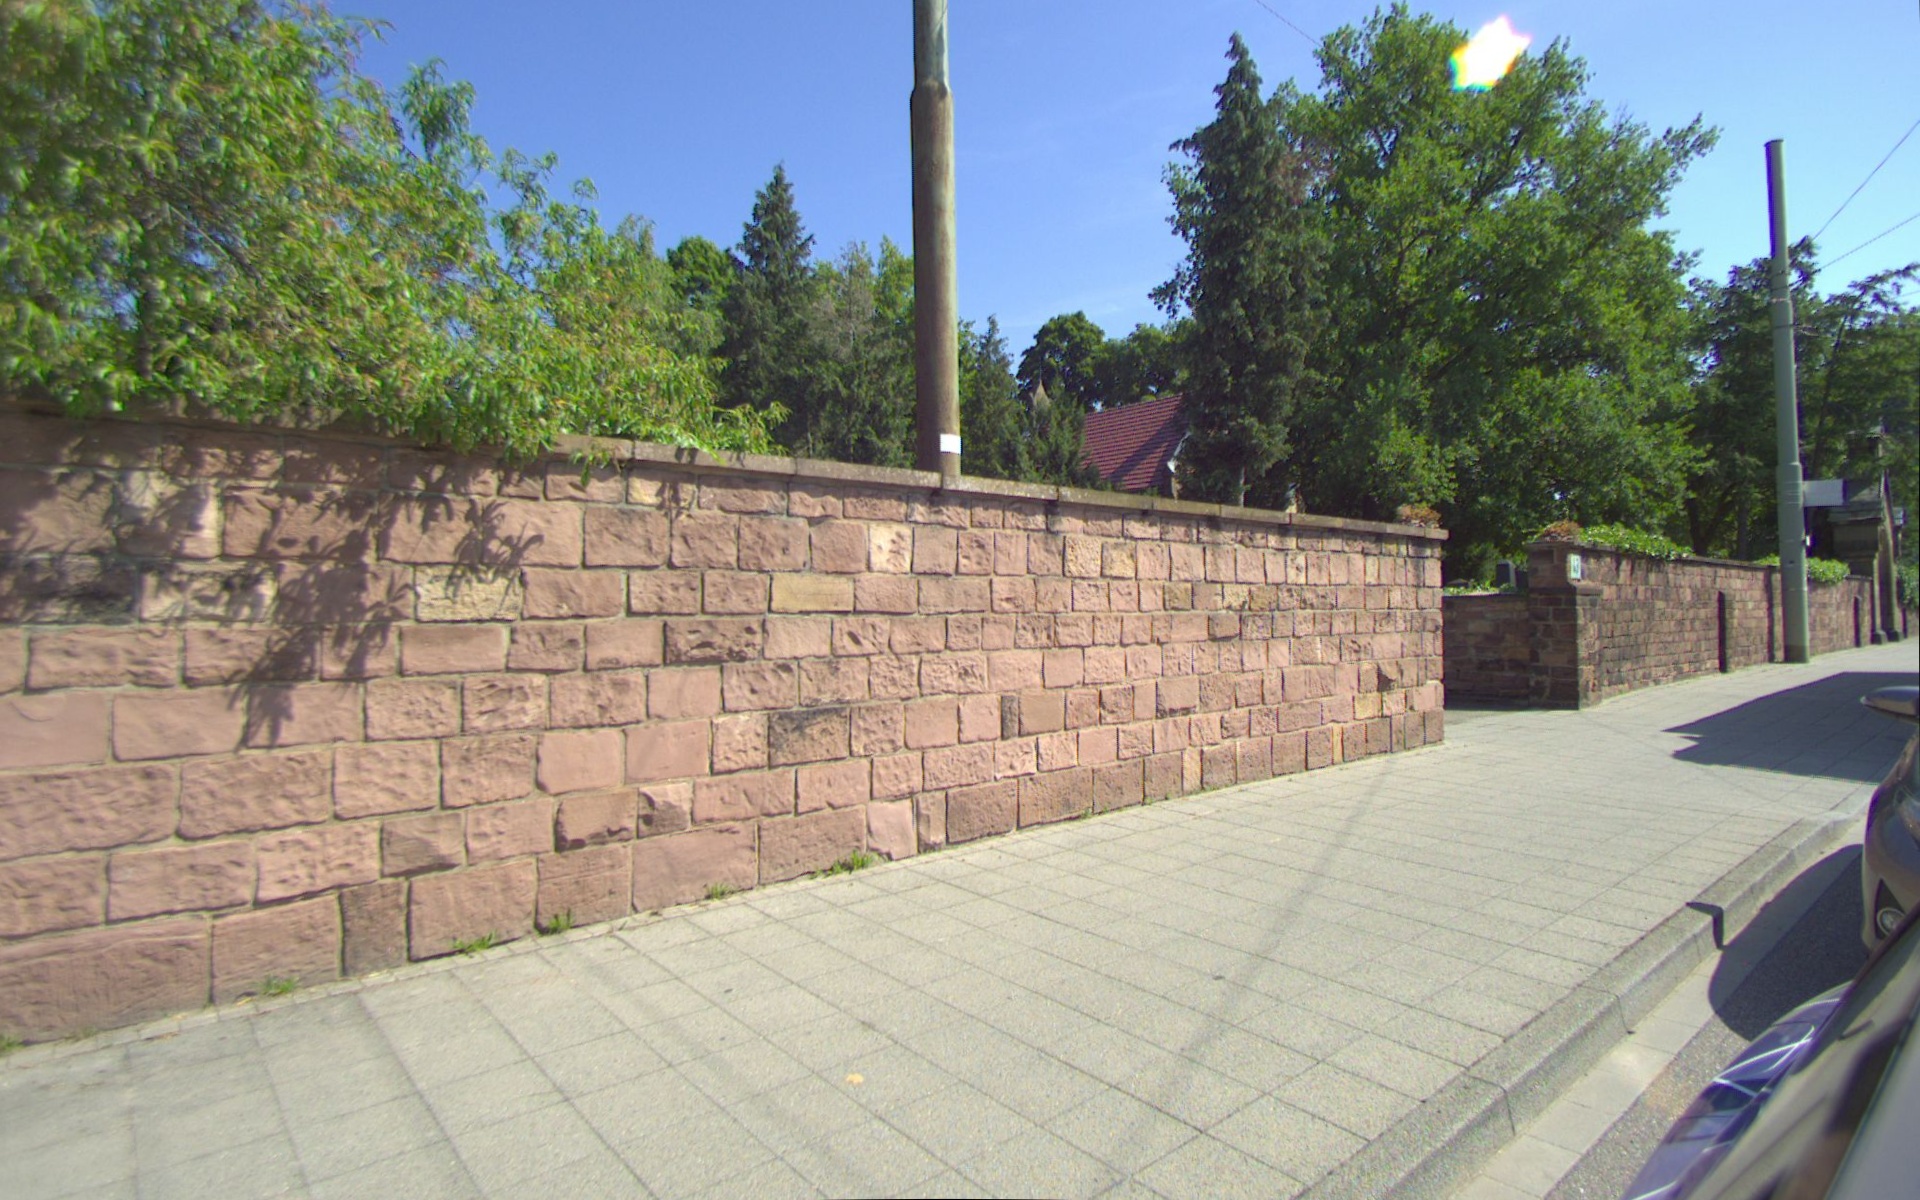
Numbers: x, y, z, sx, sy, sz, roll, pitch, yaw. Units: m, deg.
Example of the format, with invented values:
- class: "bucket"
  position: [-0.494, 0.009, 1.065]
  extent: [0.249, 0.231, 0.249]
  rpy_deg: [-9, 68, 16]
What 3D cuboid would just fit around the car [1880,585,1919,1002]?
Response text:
- class: "car"
  position: [5.167, 0.647, 4.138]
  extent: [3.930, 1.400, 1.653]
  rpy_deg: [0, 0, -41]
